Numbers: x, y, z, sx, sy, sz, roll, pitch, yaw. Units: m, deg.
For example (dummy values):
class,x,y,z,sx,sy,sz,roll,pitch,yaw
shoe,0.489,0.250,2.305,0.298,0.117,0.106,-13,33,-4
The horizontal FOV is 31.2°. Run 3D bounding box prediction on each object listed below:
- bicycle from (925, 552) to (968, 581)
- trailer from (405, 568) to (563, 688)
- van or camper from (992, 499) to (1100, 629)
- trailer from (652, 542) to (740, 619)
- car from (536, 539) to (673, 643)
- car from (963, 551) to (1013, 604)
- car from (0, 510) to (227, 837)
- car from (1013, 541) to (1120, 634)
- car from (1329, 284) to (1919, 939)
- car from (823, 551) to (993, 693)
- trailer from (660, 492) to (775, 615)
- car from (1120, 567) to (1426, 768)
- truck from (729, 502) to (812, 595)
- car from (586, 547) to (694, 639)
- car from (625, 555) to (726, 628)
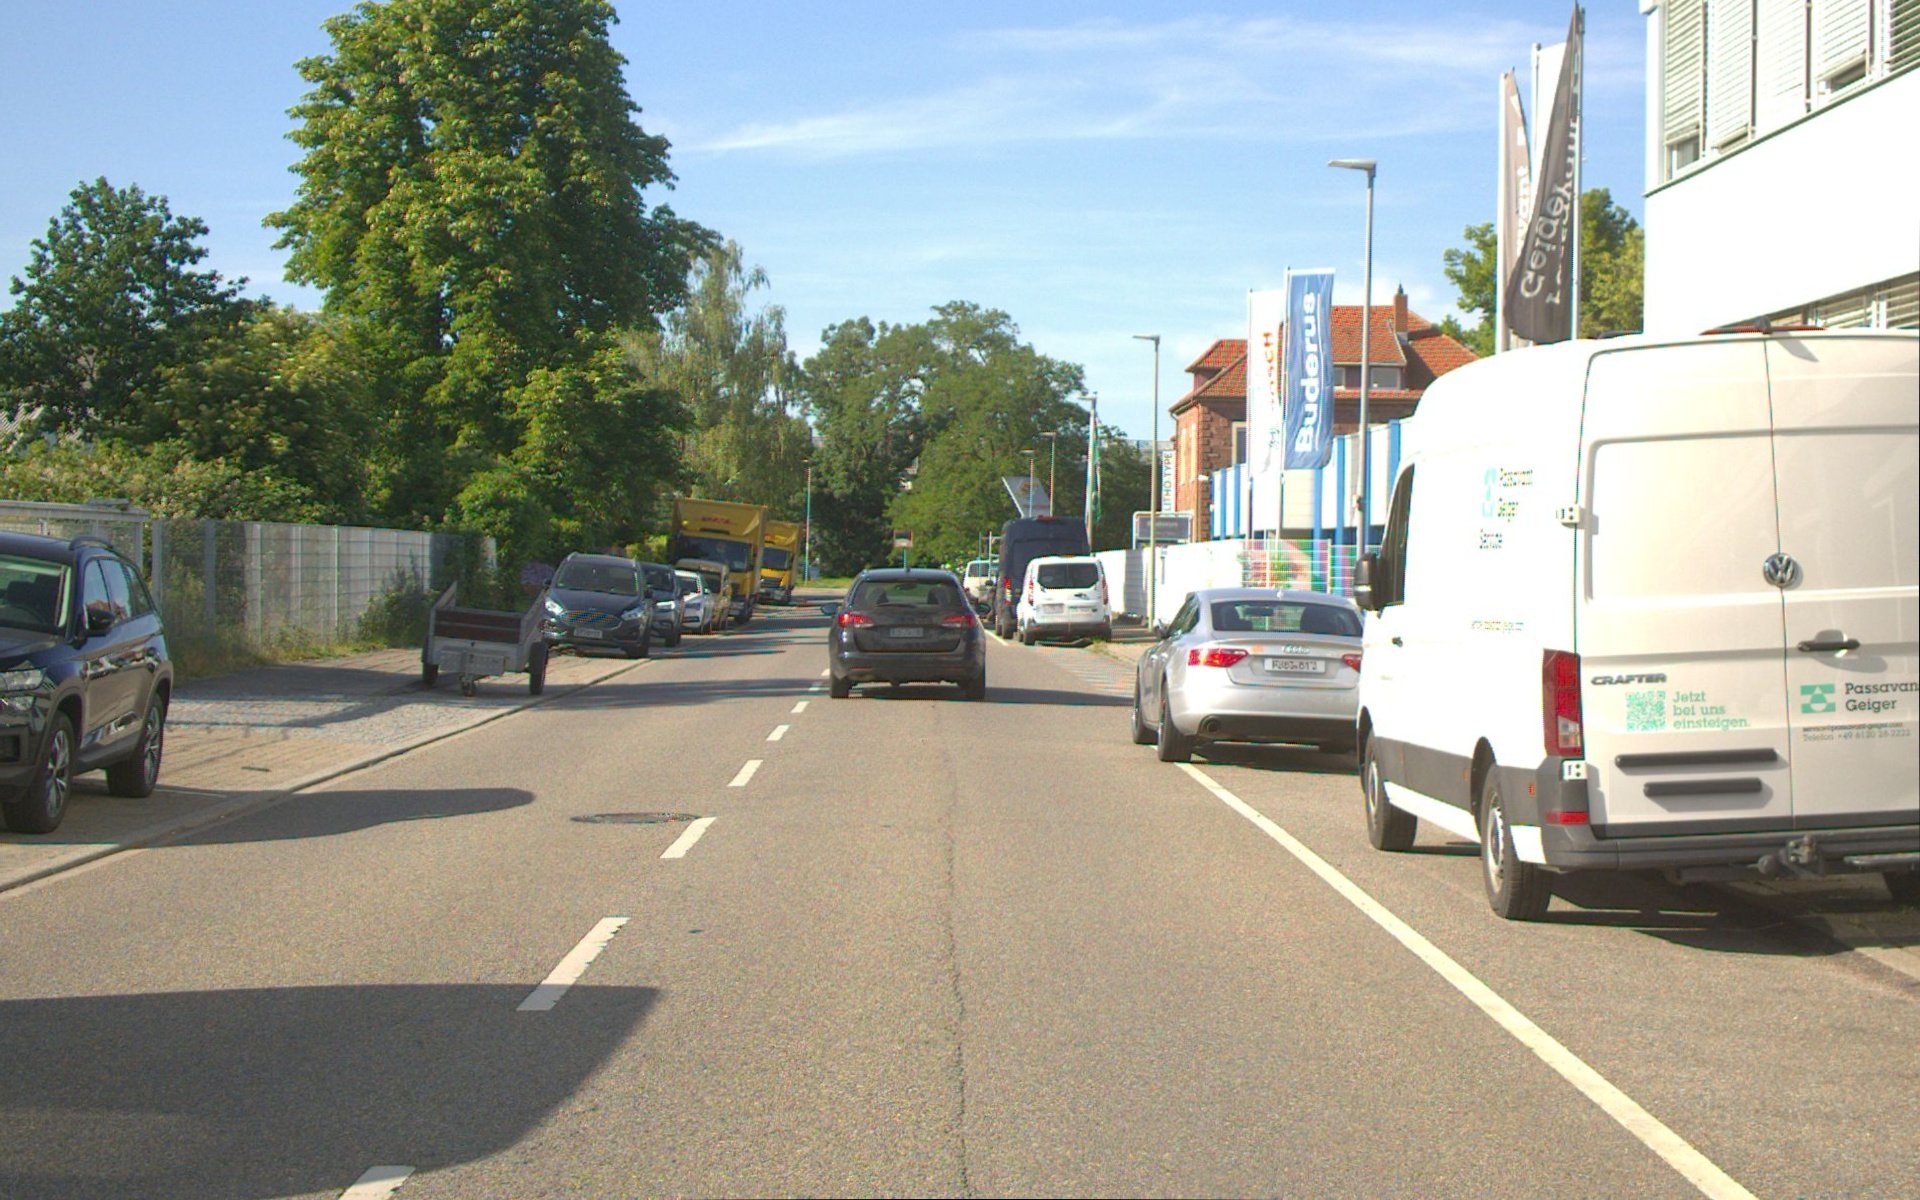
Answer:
class,x,y,z,sx,sy,sz,roll,pitch,yaw
bicycle,-0.636,-1.542,159.872,0.803,1.263,2.258,3,0,-35
trailer,-5.837,0.317,42.413,1.476,1.349,3.079,3,0,0
van or camper,1.933,-0.800,78.924,2.141,2.750,6.161,3,0,0
trailer,-6.932,-0.518,90.582,1.993,1.935,4.415,1,0,0
car,-6.205,-0.183,60.441,1.792,1.725,4.802,1,1,1
car,1.097,-0.912,139.001,1.874,2.007,5.160,3,0,0
car,-6.069,0.313,21.183,2.030,1.688,5.107,5,1,-2
car,2.202,-0.271,72.487,1.885,1.791,5.104,3,0,-1
car,3.200,-0.044,16.691,1.993,2.589,6.052,-1,2,-2
car,-0.570,0.215,39.794,1.847,1.525,4.000,1,1,0
trailer,-7.095,-1.352,101.484,2.991,3.431,8.162,1,0,-2
car,2.449,0.493,28.138,1.894,1.400,5.124,3,0,-1
truck,-7.935,-2.227,145.074,2.631,3.493,8.657,7,2,0
car,-6.602,-0.171,71.284,1.908,1.657,4.464,6,1,-3
car,-6.959,-0.230,84.657,1.908,1.587,5.025,6,1,0
